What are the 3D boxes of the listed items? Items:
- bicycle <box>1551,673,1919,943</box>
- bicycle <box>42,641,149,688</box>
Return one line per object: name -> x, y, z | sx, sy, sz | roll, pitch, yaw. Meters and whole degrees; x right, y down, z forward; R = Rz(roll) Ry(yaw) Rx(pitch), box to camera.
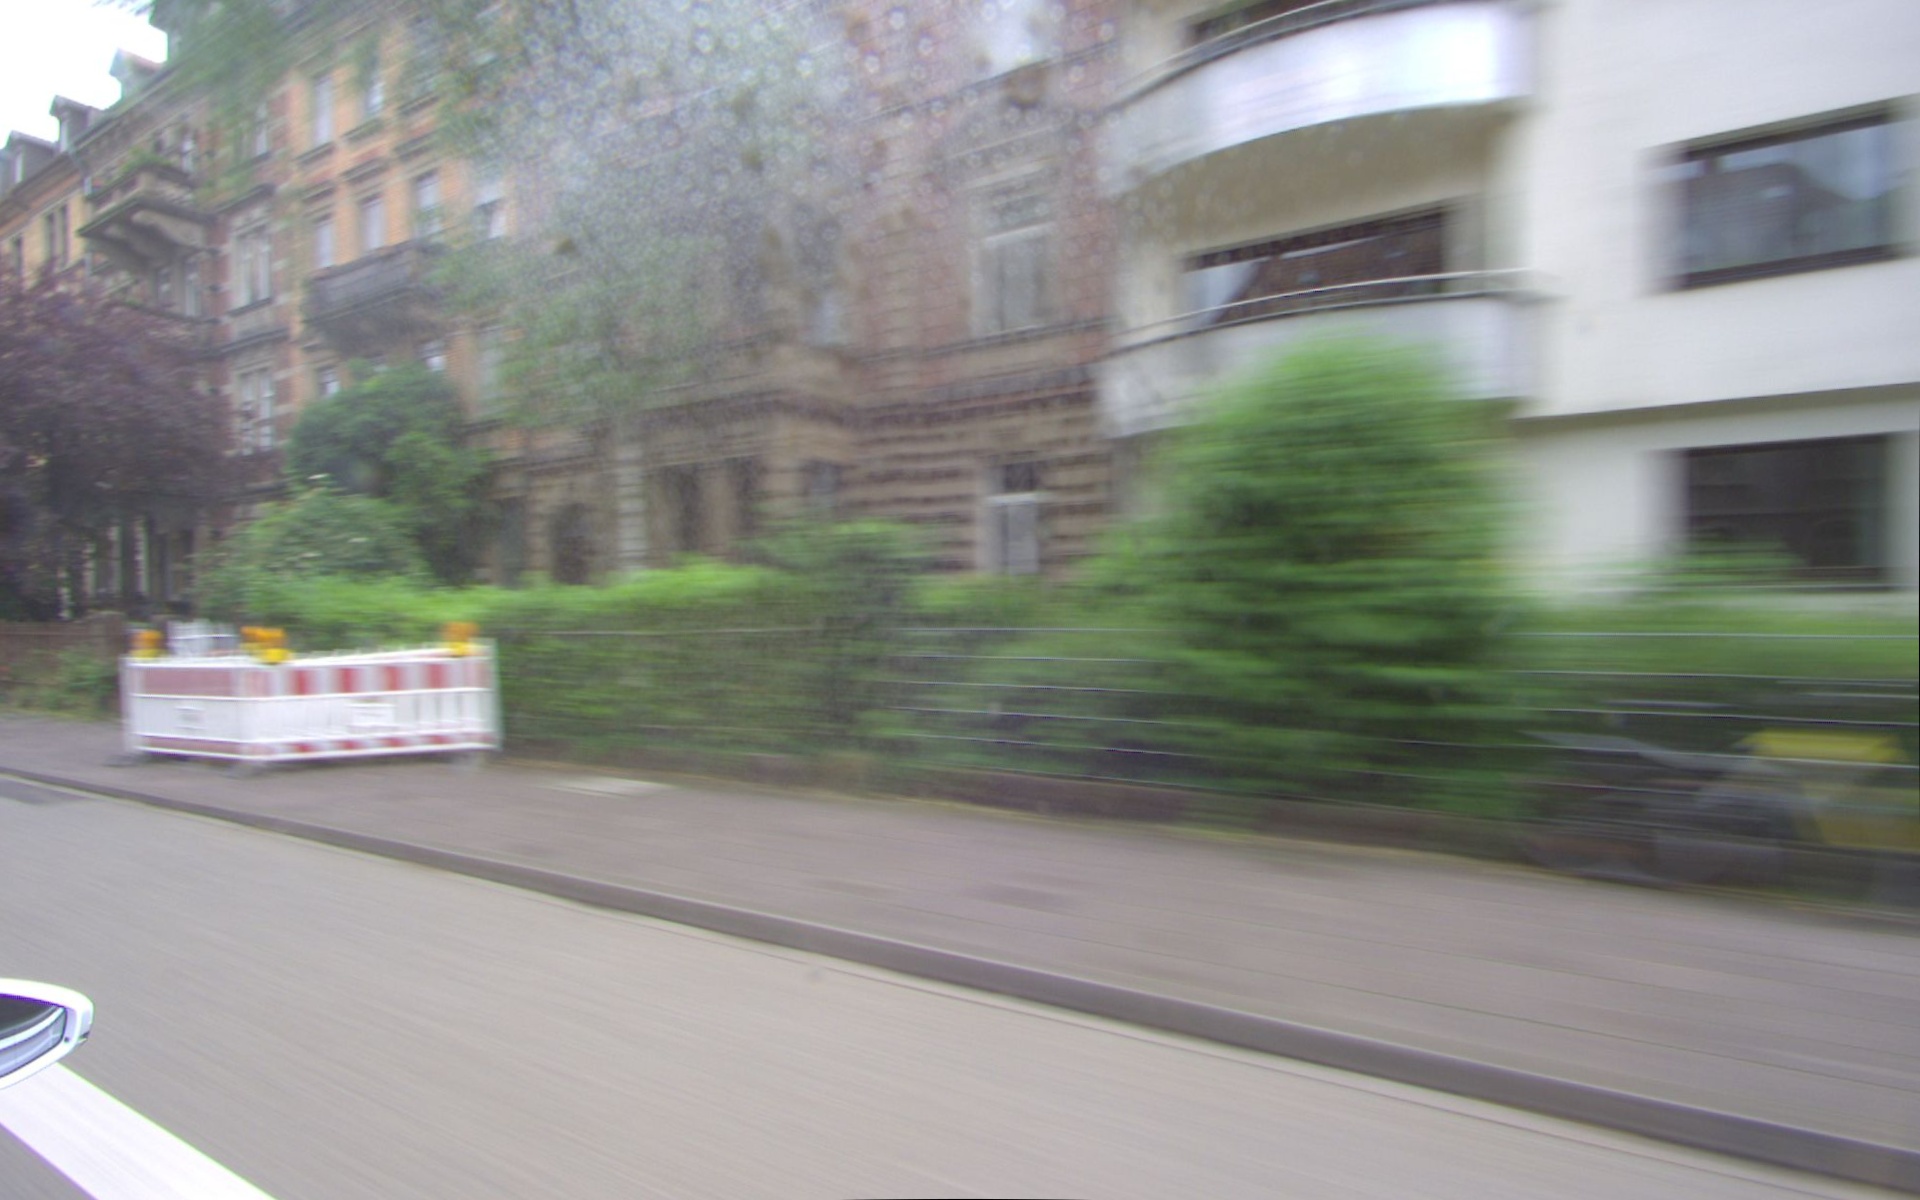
bicycle -> 3.666, 0.914, 4.712 | 1.510, 1.059, 0.478 | -1, 2, 33
bicycle -> -17.864, 1.324, 20.714 | 0.548, 0.875, 1.609 | 0, 0, 39
